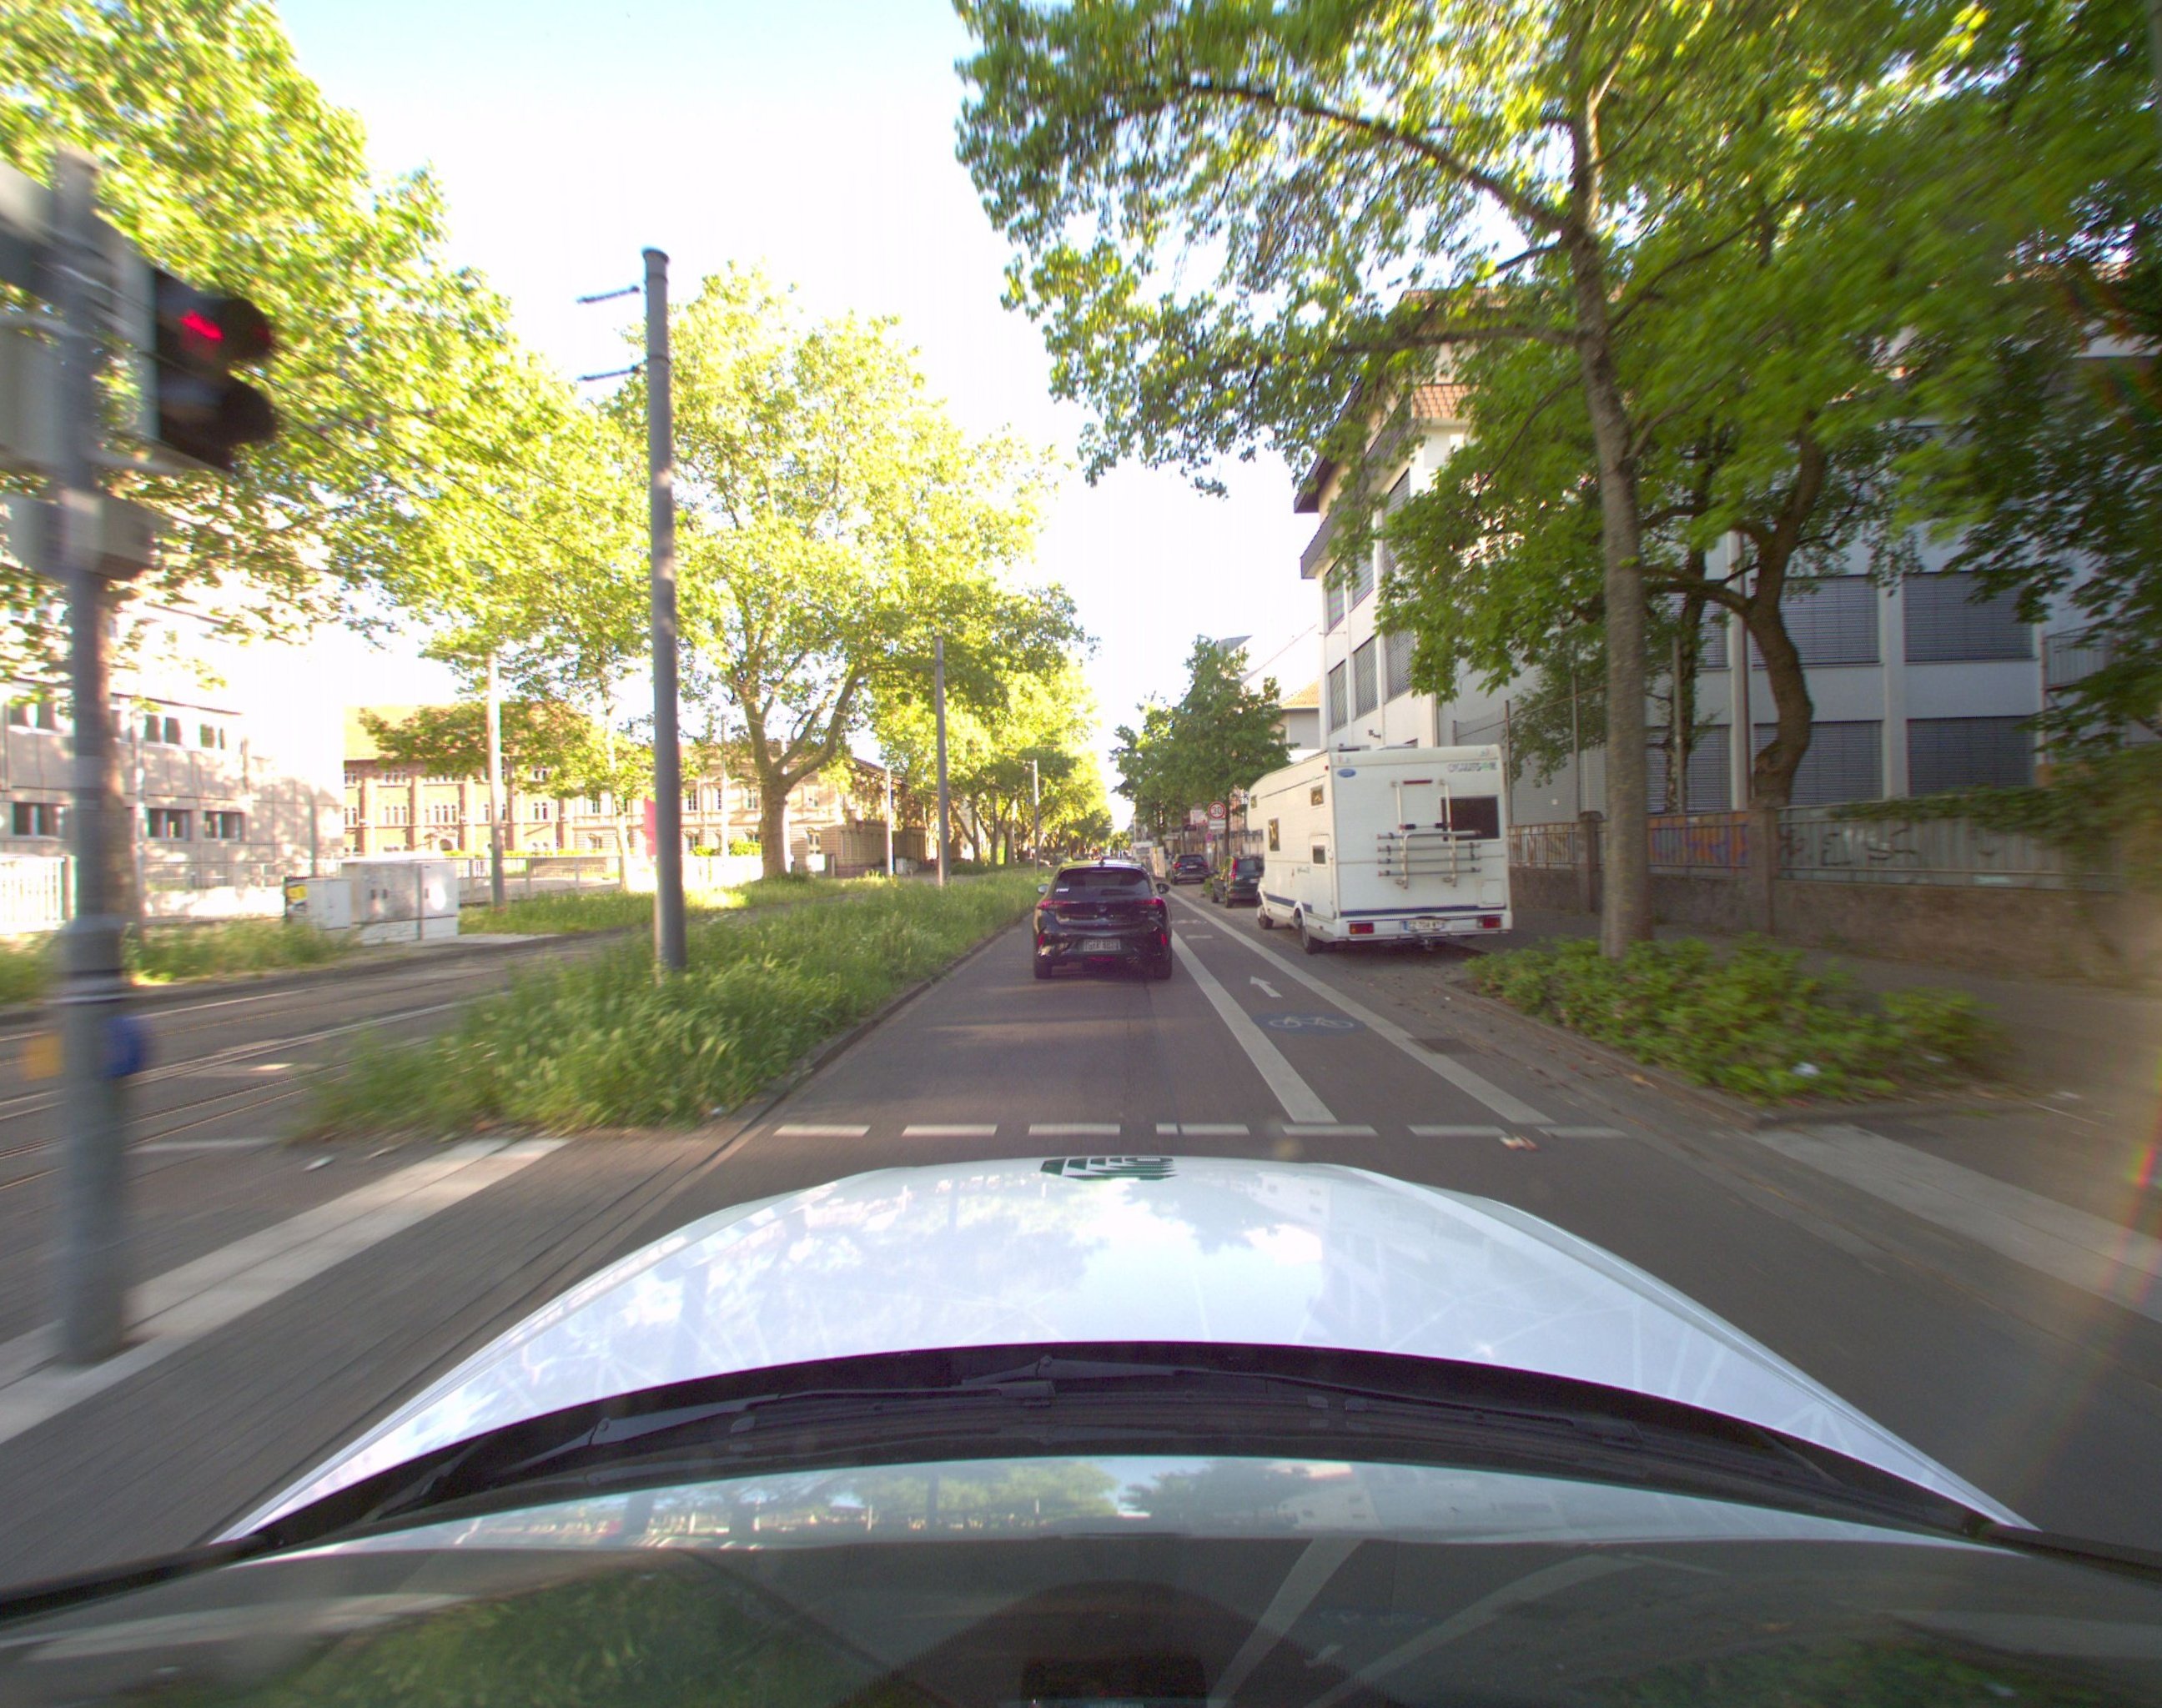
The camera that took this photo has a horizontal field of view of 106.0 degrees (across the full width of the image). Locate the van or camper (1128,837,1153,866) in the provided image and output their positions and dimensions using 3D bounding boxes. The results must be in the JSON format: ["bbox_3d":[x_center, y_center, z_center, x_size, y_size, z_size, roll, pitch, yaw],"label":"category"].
[{"bbox_3d":[6.333,-0.221,87.125,2.475,2.993,5.439,1,0,4],"label":"van or camper"}]

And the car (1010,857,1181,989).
[{"bbox_3d":[0.296,0.793,11.283,1.897,1.425,4.219,-1,0,4],"label":"car"}]

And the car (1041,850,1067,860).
[{"bbox_3d":[-6.037,0.225,183.485,5.664,2.198,2.290,-1,0,2],"label":"car"}]

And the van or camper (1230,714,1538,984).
[{"bbox_3d":[4.361,-0.065,13.642,2.367,3.125,7.554,-4,0,2],"label":"van or camper"}]

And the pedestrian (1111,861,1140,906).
[{"bbox_3d":[1.547,1.023,28.594,0.966,1.562,0.972,-1,0,1],"label":"pedestrian"}]

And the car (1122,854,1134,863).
[{"bbox_3d":[7.765,0.695,133.492,1.897,1.425,4.219,-1,0,4],"label":"car"}]

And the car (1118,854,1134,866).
[{"bbox_3d":[5.616,0.709,101.632,1.897,1.425,4.219,-1,0,4],"label":"car"}]

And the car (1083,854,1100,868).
[{"bbox_3d":[1.233,0.767,96.018,1.783,1.510,3.877,-3,0,3],"label":"car"}]

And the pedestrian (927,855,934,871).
[{"bbox_3d":[-16.701,1.000,90.121,0.616,1.733,0.596,1,0,1],"label":"pedestrian"}]

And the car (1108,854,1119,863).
[{"bbox_3d":[5.636,0.719,140.654,1.897,1.425,4.219,-1,0,4],"label":"car"}]

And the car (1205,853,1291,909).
[{"bbox_3d":[4.741,0.714,23.697,1.680,1.420,4.048,-2,0,0],"label":"car"}]

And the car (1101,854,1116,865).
[{"bbox_3d":[3.812,0.675,111.467,1.897,1.425,4.219,-1,0,4],"label":"car"}]

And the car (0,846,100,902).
[{"bbox_3d":[-40.991,0.772,30.927,4.730,2.013,1.997,-1,0,-4],"label":"car"}]

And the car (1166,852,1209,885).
[{"bbox_3d":[5.266,0.694,40.715,1.783,1.510,3.877,-3,0,3],"label":"car"}]

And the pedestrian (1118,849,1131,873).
[{"bbox_3d":[3.763,0.598,70.174,1.032,2.024,1.213,-1,0,1],"label":"pedestrian"}]

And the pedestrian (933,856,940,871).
[{"bbox_3d":[-16.030,1.031,90.292,0.656,1.622,0.616,1,0,1],"label":"pedestrian"}]

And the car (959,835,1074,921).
[{"bbox_3d":[-1.267,0.457,17.871,1.986,1.627,4.472,1,0,2],"label":"car"}]
